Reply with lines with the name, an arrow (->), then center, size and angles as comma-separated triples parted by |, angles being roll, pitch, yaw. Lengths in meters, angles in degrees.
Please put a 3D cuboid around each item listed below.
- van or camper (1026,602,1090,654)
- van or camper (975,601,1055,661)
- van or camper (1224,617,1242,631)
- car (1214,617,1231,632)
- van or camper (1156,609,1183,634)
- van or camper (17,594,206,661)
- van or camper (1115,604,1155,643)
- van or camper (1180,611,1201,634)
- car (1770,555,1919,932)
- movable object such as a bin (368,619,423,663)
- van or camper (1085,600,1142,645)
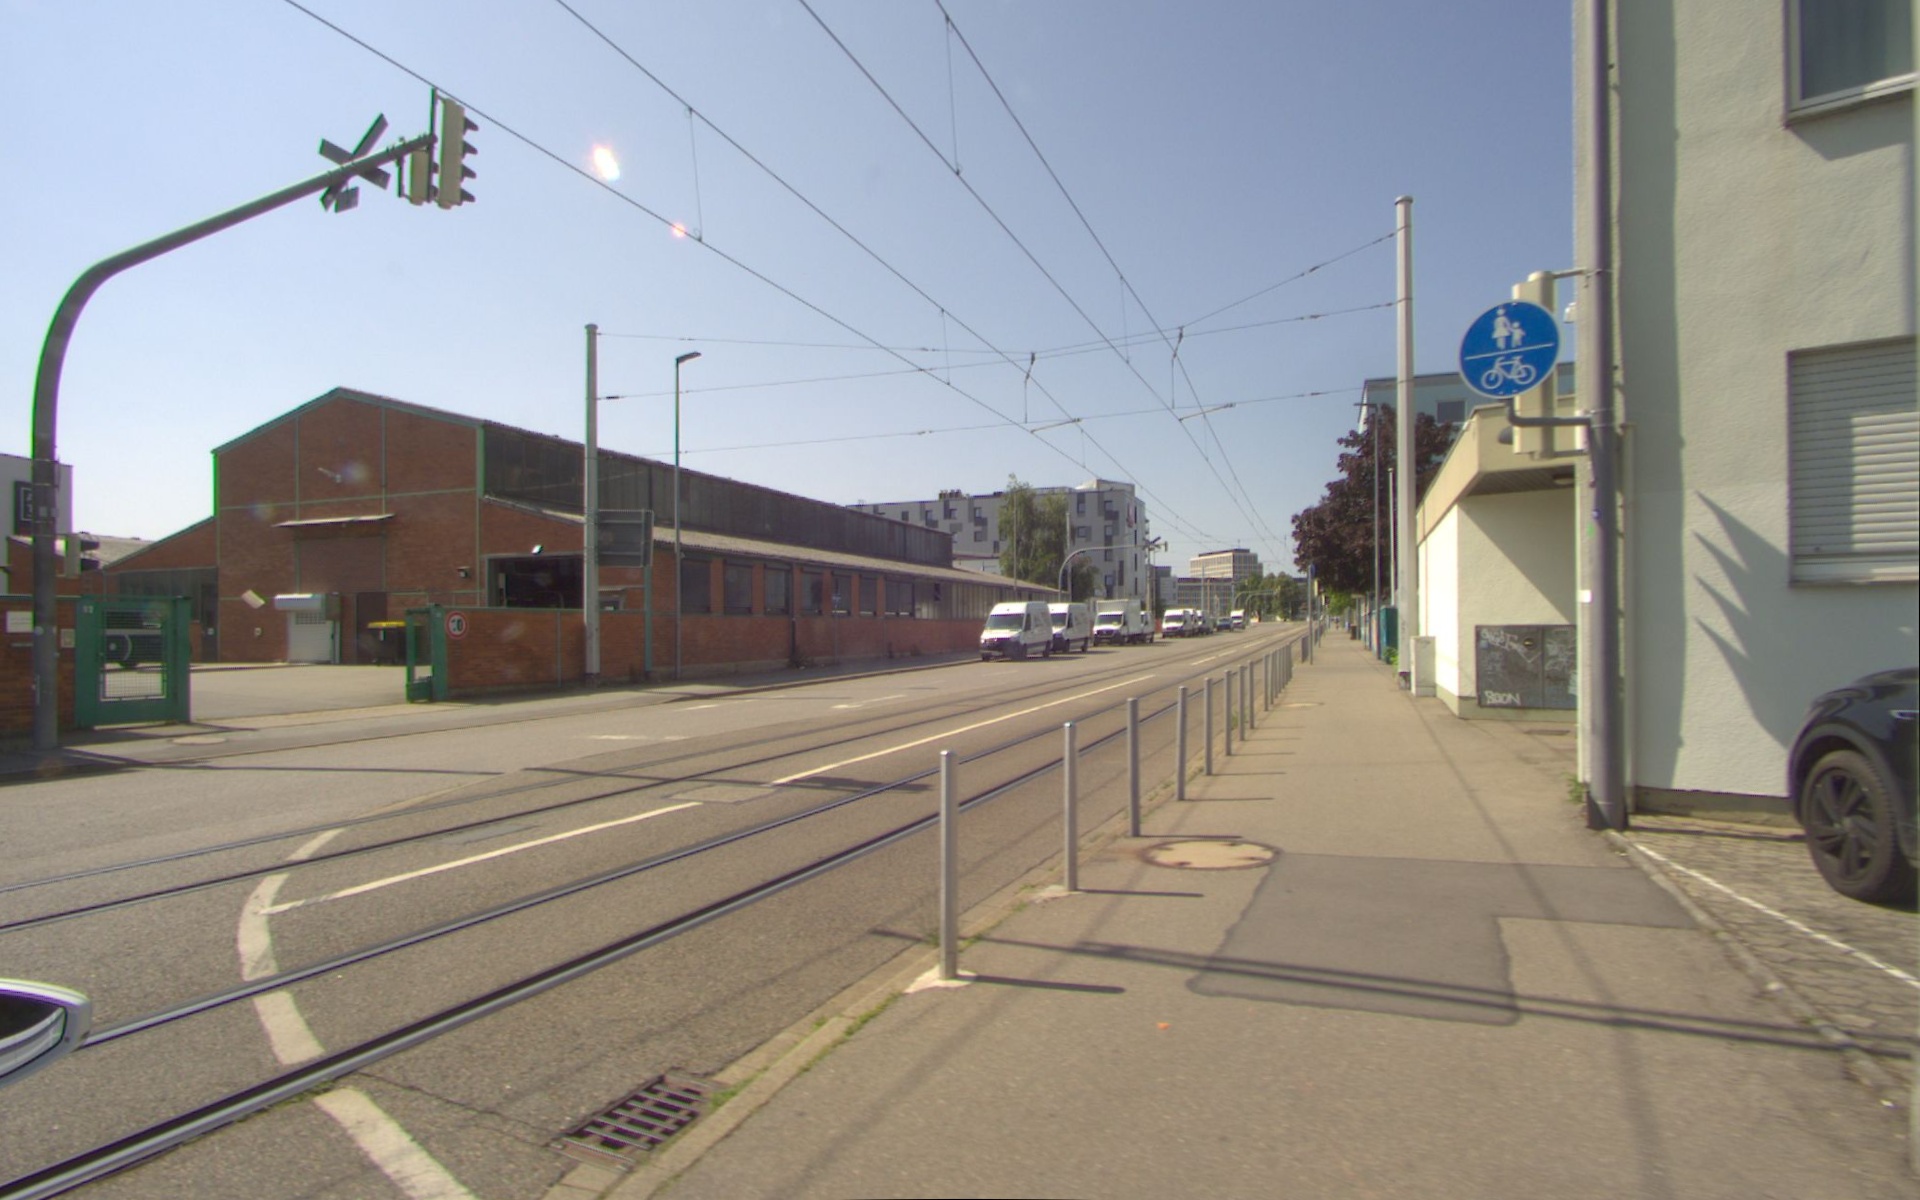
van or camper -> 5.228, 1.464, 52.782 | 2.009, 2.567, 5.571 | -1, -1, 20
van or camper -> 2.604, 1.384, 45.812 | 2.009, 2.567, 5.858 | -1, -1, 20
van or camper -> 39.997, 3.533, 146.665 | 1.966, 2.039, 3.990 | -1, -1, 22
car -> 34.959, 3.267, 133.110 | 1.795, 2.039, 3.827 | -1, -1, 21
van or camper -> 19.048, 1.938, 90.798 | 1.923, 2.240, 4.901 | -1, -1, 17
van or camper -> -26.350, 0.923, 31.344 | 1.961, 1.923, 4.426 | 0, -3, 3
van or camper -> 12.924, 1.725, 73.580 | 2.139, 2.822, 4.723 | -1, -1, 20
van or camper -> 23.716, 2.292, 102.822 | 1.793, 2.240, 4.254 | -1, -1, 17
car -> 4.597, 0.552, 2.993 | 1.845, 1.540, 3.971 | -1, -1, 14
movable object such as a bin -> -17.409, 1.251, 30.904 | 1.132, 1.331, 0.975 | -1, 0, 22
van or camper -> 10.298, 1.489, 66.735 | 2.480, 2.822, 7.103 | -1, -1, 19
